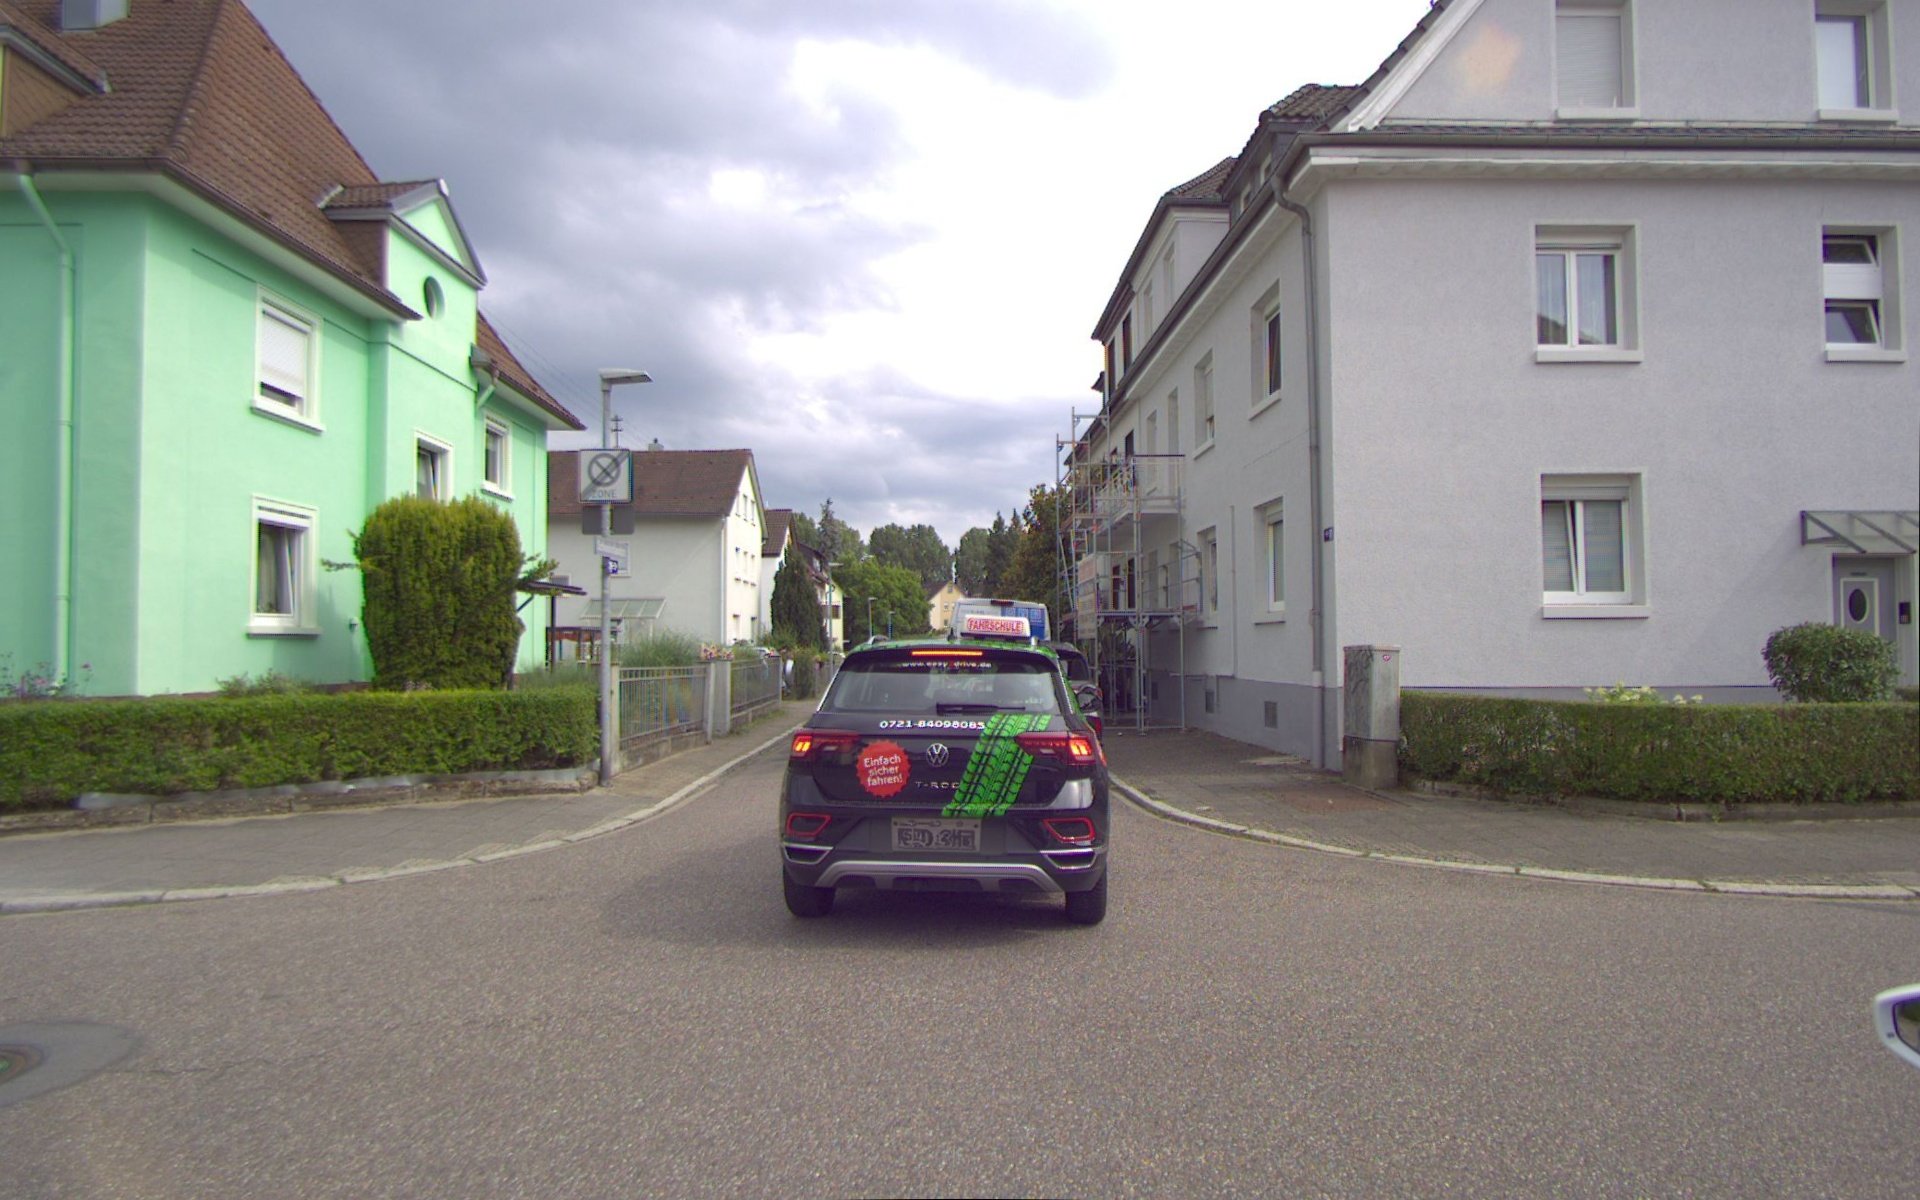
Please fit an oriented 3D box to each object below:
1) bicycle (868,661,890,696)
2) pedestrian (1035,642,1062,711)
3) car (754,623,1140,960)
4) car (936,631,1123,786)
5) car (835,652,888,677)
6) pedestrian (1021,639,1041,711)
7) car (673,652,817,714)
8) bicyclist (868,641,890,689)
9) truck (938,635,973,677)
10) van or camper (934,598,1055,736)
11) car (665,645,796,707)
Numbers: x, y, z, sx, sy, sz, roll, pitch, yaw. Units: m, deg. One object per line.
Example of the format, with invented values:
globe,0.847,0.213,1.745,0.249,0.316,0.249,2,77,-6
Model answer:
bicycle,-2.912,2.821,36.242,0.693,1.167,1.873,-1,-3,-2
pedestrian,2.142,1.860,24.446,0.591,1.650,0.626,-1,-4,2
car,0.048,1.011,6.700,1.785,1.539,4.046,0,-4,3
car,0.751,1.349,13.744,1.962,1.749,4.340,0,-3,-4
car,-7.403,4.866,75.679,3.925,1.794,1.869,0,-4,-6
pedestrian,1.795,1.890,25.328,0.401,1.785,0.513,0,-4,-5
car,-5.563,2.154,26.294,3.514,1.520,1.587,0,-3,-6
bicyclist,-2.928,2.352,36.303,0.685,1.688,0.975,-2,-3,-1
truck,-0.359,3.724,67.504,2.096,2.692,4.583,0,-3,-3
van or camper,0.574,1.336,20.947,2.156,2.491,5.054,-1,-3,-2
car,-6.614,2.201,29.227,3.514,1.689,1.587,0,-3,-6
